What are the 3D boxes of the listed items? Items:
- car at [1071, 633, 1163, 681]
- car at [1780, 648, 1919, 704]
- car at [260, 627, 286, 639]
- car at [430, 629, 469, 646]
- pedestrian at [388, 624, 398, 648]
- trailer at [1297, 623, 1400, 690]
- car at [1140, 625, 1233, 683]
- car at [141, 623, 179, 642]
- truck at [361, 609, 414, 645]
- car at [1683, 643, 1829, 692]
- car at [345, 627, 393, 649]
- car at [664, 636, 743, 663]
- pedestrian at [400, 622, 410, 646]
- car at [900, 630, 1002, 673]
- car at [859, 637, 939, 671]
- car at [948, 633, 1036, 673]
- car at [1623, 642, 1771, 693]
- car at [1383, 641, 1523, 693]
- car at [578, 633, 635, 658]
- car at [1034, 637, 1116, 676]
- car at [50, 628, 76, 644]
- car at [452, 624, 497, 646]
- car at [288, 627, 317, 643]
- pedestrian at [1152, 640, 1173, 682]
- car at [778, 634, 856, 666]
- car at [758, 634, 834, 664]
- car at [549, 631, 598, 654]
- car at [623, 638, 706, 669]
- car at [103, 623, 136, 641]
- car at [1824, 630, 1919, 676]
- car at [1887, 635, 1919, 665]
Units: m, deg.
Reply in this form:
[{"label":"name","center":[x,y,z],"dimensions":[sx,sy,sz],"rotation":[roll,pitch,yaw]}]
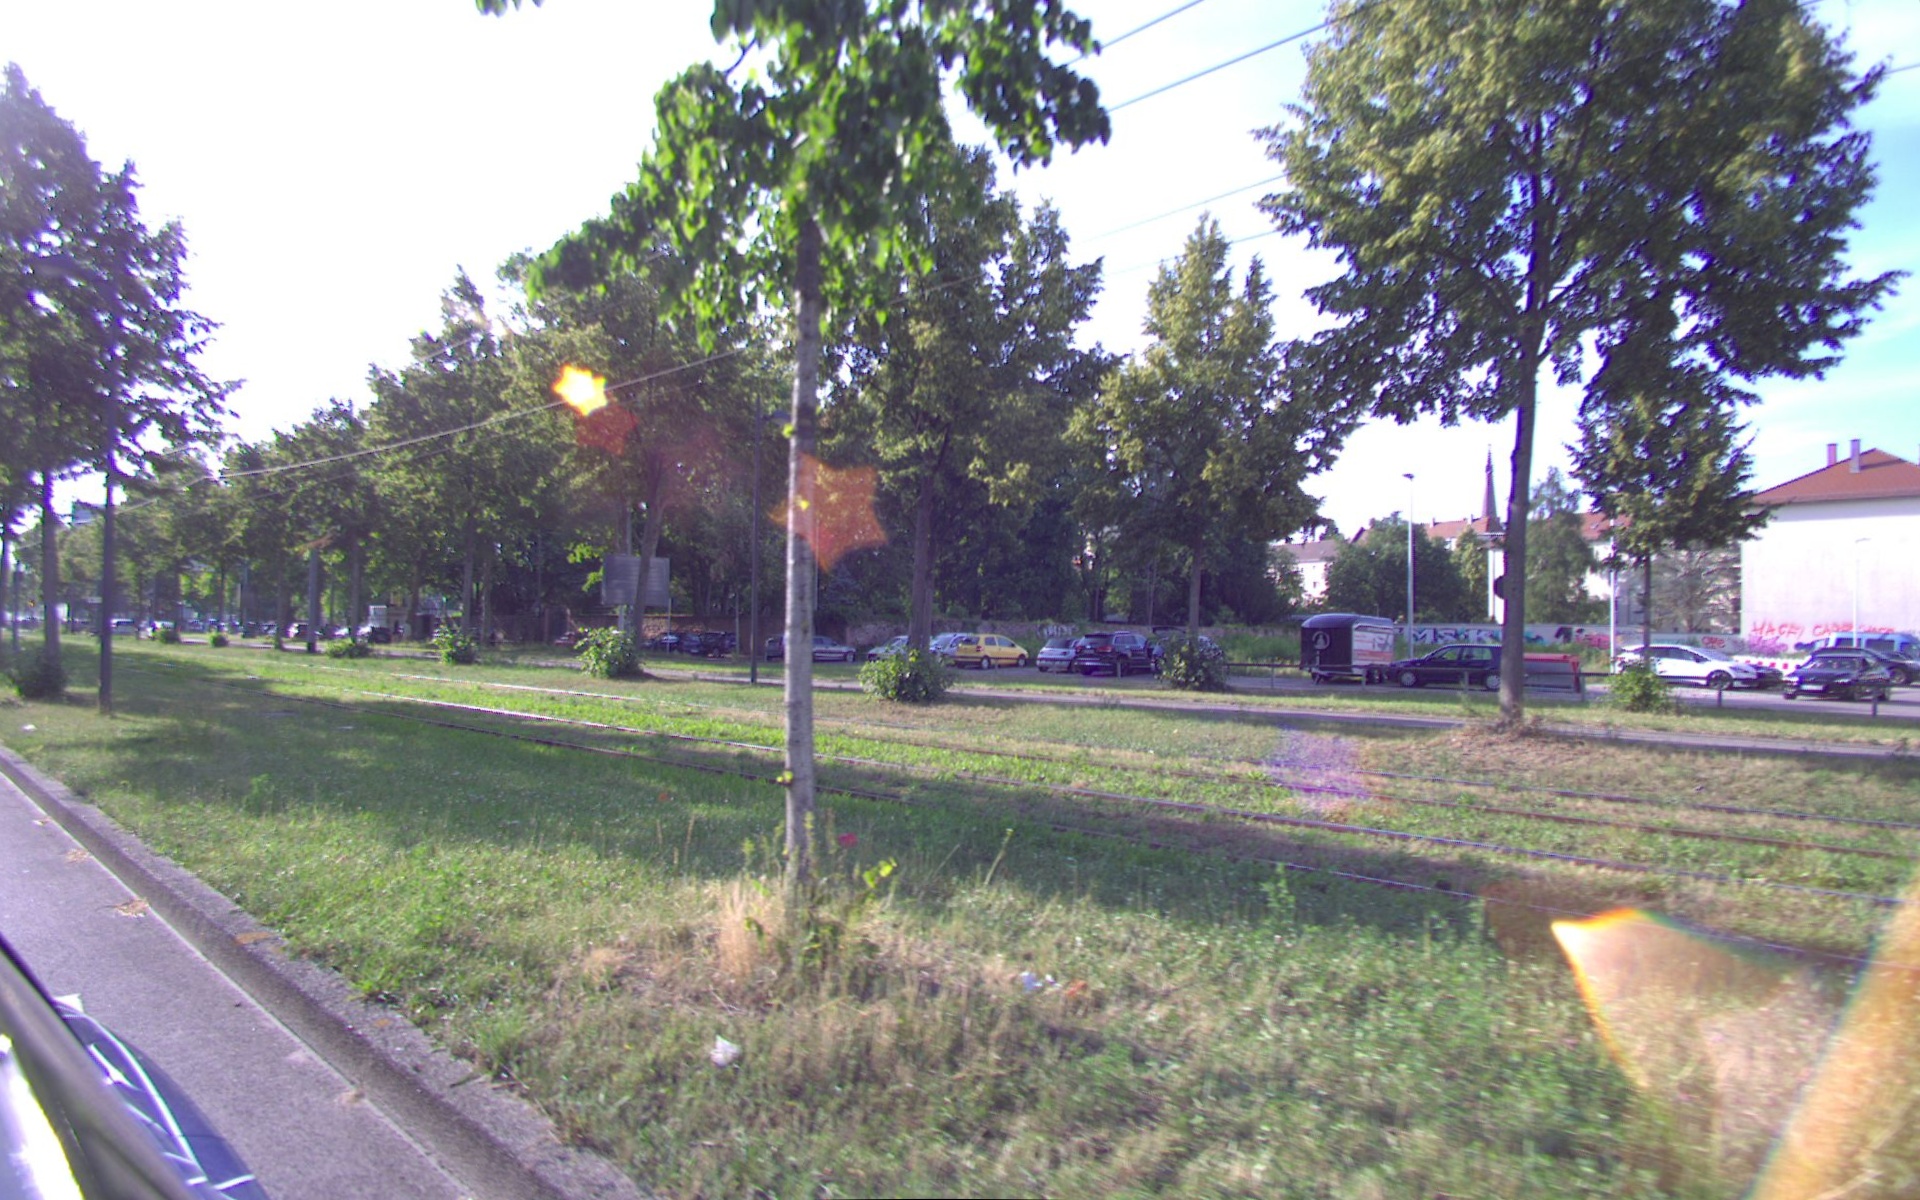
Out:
[{"label":"car","center":[6.257,2.214,40.175],"dimensions":[1.757,1.655,3.950],"rotation":[0,0,42]},{"label":"car","center":[26.716,2.239,30.375],"dimensions":[3.931,1.437,1.782],"rotation":[0,0,-27]},{"label":"car","center":[-65.647,3.144,96.681],"dimensions":[3.773,1.116,1.284],"rotation":[0,0,44]},{"label":"car","center":[-43.875,3.207,86.941],"dimensions":[1.678,1.386,4.388],"rotation":[0,0,-45]},{"label":"pedestrian","center":[-35.303,2.250,63.002],"dimensions":[0.601,1.487,0.382],"rotation":[-1,0,41]},{"label":"trailer","center":[13.472,1.872,34.952],"dimensions":[1.758,2.069,4.315],"rotation":[-1,0,44]},{"label":"car","center":[8.630,1.990,38.319],"dimensions":[1.757,1.962,3.950],"rotation":[0,0,42]},{"label":"car","center":[-68.944,2.780,87.229],"dimensions":[4.811,1.487,1.664],"rotation":[0,-4,42]},{"label":"truck","center":[-58.793,2.728,103.894],"dimensions":[2.855,3.542,7.950],"rotation":[0,0,-44]},{"label":"car","center":[29.698,2.458,37.852],"dimensions":[1.662,1.569,4.009],"rotation":[0,0,-37]},{"label":"car","center":[-42.775,2.722,73.204],"dimensions":[4.474,1.442,1.810],"rotation":[0,0,43]},{"label":"car","center":[-15.140,2.883,59.707],"dimensions":[4.328,1.453,1.780],"rotation":[0,0,20]},{"label":"pedestrian","center":[-34.796,2.117,63.478],"dimensions":[0.601,1.487,0.382],"rotation":[-1,0,41]},{"label":"car","center":[-0.363,2.359,47.410],"dimensions":[1.886,1.748,5.004],"rotation":[0,0,43]},{"label":"car","center":[-2.904,2.549,48.519],"dimensions":[1.810,1.439,3.606],"rotation":[0,0,43]},{"label":"car","center":[1.492,2.369,45.769],"dimensions":[1.856,1.572,3.943],"rotation":[0,0,43]},{"label":"car","center":[26.669,2.396,36.726],"dimensions":[1.824,1.608,4.008],"rotation":[0,0,-38]},{"label":"car","center":[15.644,2.090,32.210],"dimensions":[3.757,1.404,1.663],"rotation":[0,0,38]},{"label":"car","center":[-23.291,2.988,66.575],"dimensions":[4.362,1.453,1.766],"rotation":[0,0,44]},{"label":"car","center":[4.851,2.346,42.602],"dimensions":[1.725,1.436,3.529],"rotation":[0,0,42]},{"label":"car","center":[-93.016,3.721,104.937],"dimensions":[4.131,1.544,1.593],"rotation":[0,0,42]},{"label":"car","center":[-39.763,2.833,82.915],"dimensions":[4.474,1.624,1.810],"rotation":[0,0,43]},{"label":"car","center":[-57.944,3.084,89.177],"dimensions":[1.563,1.286,3.964],"rotation":[0,0,-42]},{"label":"pedestrian","center":[7.415,2.223,37.115],"dimensions":[0.568,1.491,0.516],"rotation":[-1,0,40]},{"label":"car","center":[-7.653,2.641,54.189],"dimensions":[3.810,1.497,1.746],"rotation":[0,0,-41]},{"label":"car","center":[-9.025,2.679,55.915],"dimensions":[3.810,1.497,1.746],"rotation":[0,0,-41]},{"label":"car","center":[-27.083,2.944,70.792],"dimensions":[3.912,1.453,1.699],"rotation":[0,0,44]},{"label":"car","center":[-15.275,2.756,52.252],"dimensions":[4.010,1.446,1.674],"rotation":[0,0,24]},{"label":"car","center":[-69.811,2.662,84.028],"dimensions":[3.695,1.403,1.566],"rotation":[0,0,42]},{"label":"car","center":[47.598,2.697,52.033],"dimensions":[1.824,2.175,4.505],"rotation":[0,0,-37]},{"label":"car","center":[57.117,2.957,58.827],"dimensions":[1.675,1.640,4.505],"rotation":[0,0,-37]}]
